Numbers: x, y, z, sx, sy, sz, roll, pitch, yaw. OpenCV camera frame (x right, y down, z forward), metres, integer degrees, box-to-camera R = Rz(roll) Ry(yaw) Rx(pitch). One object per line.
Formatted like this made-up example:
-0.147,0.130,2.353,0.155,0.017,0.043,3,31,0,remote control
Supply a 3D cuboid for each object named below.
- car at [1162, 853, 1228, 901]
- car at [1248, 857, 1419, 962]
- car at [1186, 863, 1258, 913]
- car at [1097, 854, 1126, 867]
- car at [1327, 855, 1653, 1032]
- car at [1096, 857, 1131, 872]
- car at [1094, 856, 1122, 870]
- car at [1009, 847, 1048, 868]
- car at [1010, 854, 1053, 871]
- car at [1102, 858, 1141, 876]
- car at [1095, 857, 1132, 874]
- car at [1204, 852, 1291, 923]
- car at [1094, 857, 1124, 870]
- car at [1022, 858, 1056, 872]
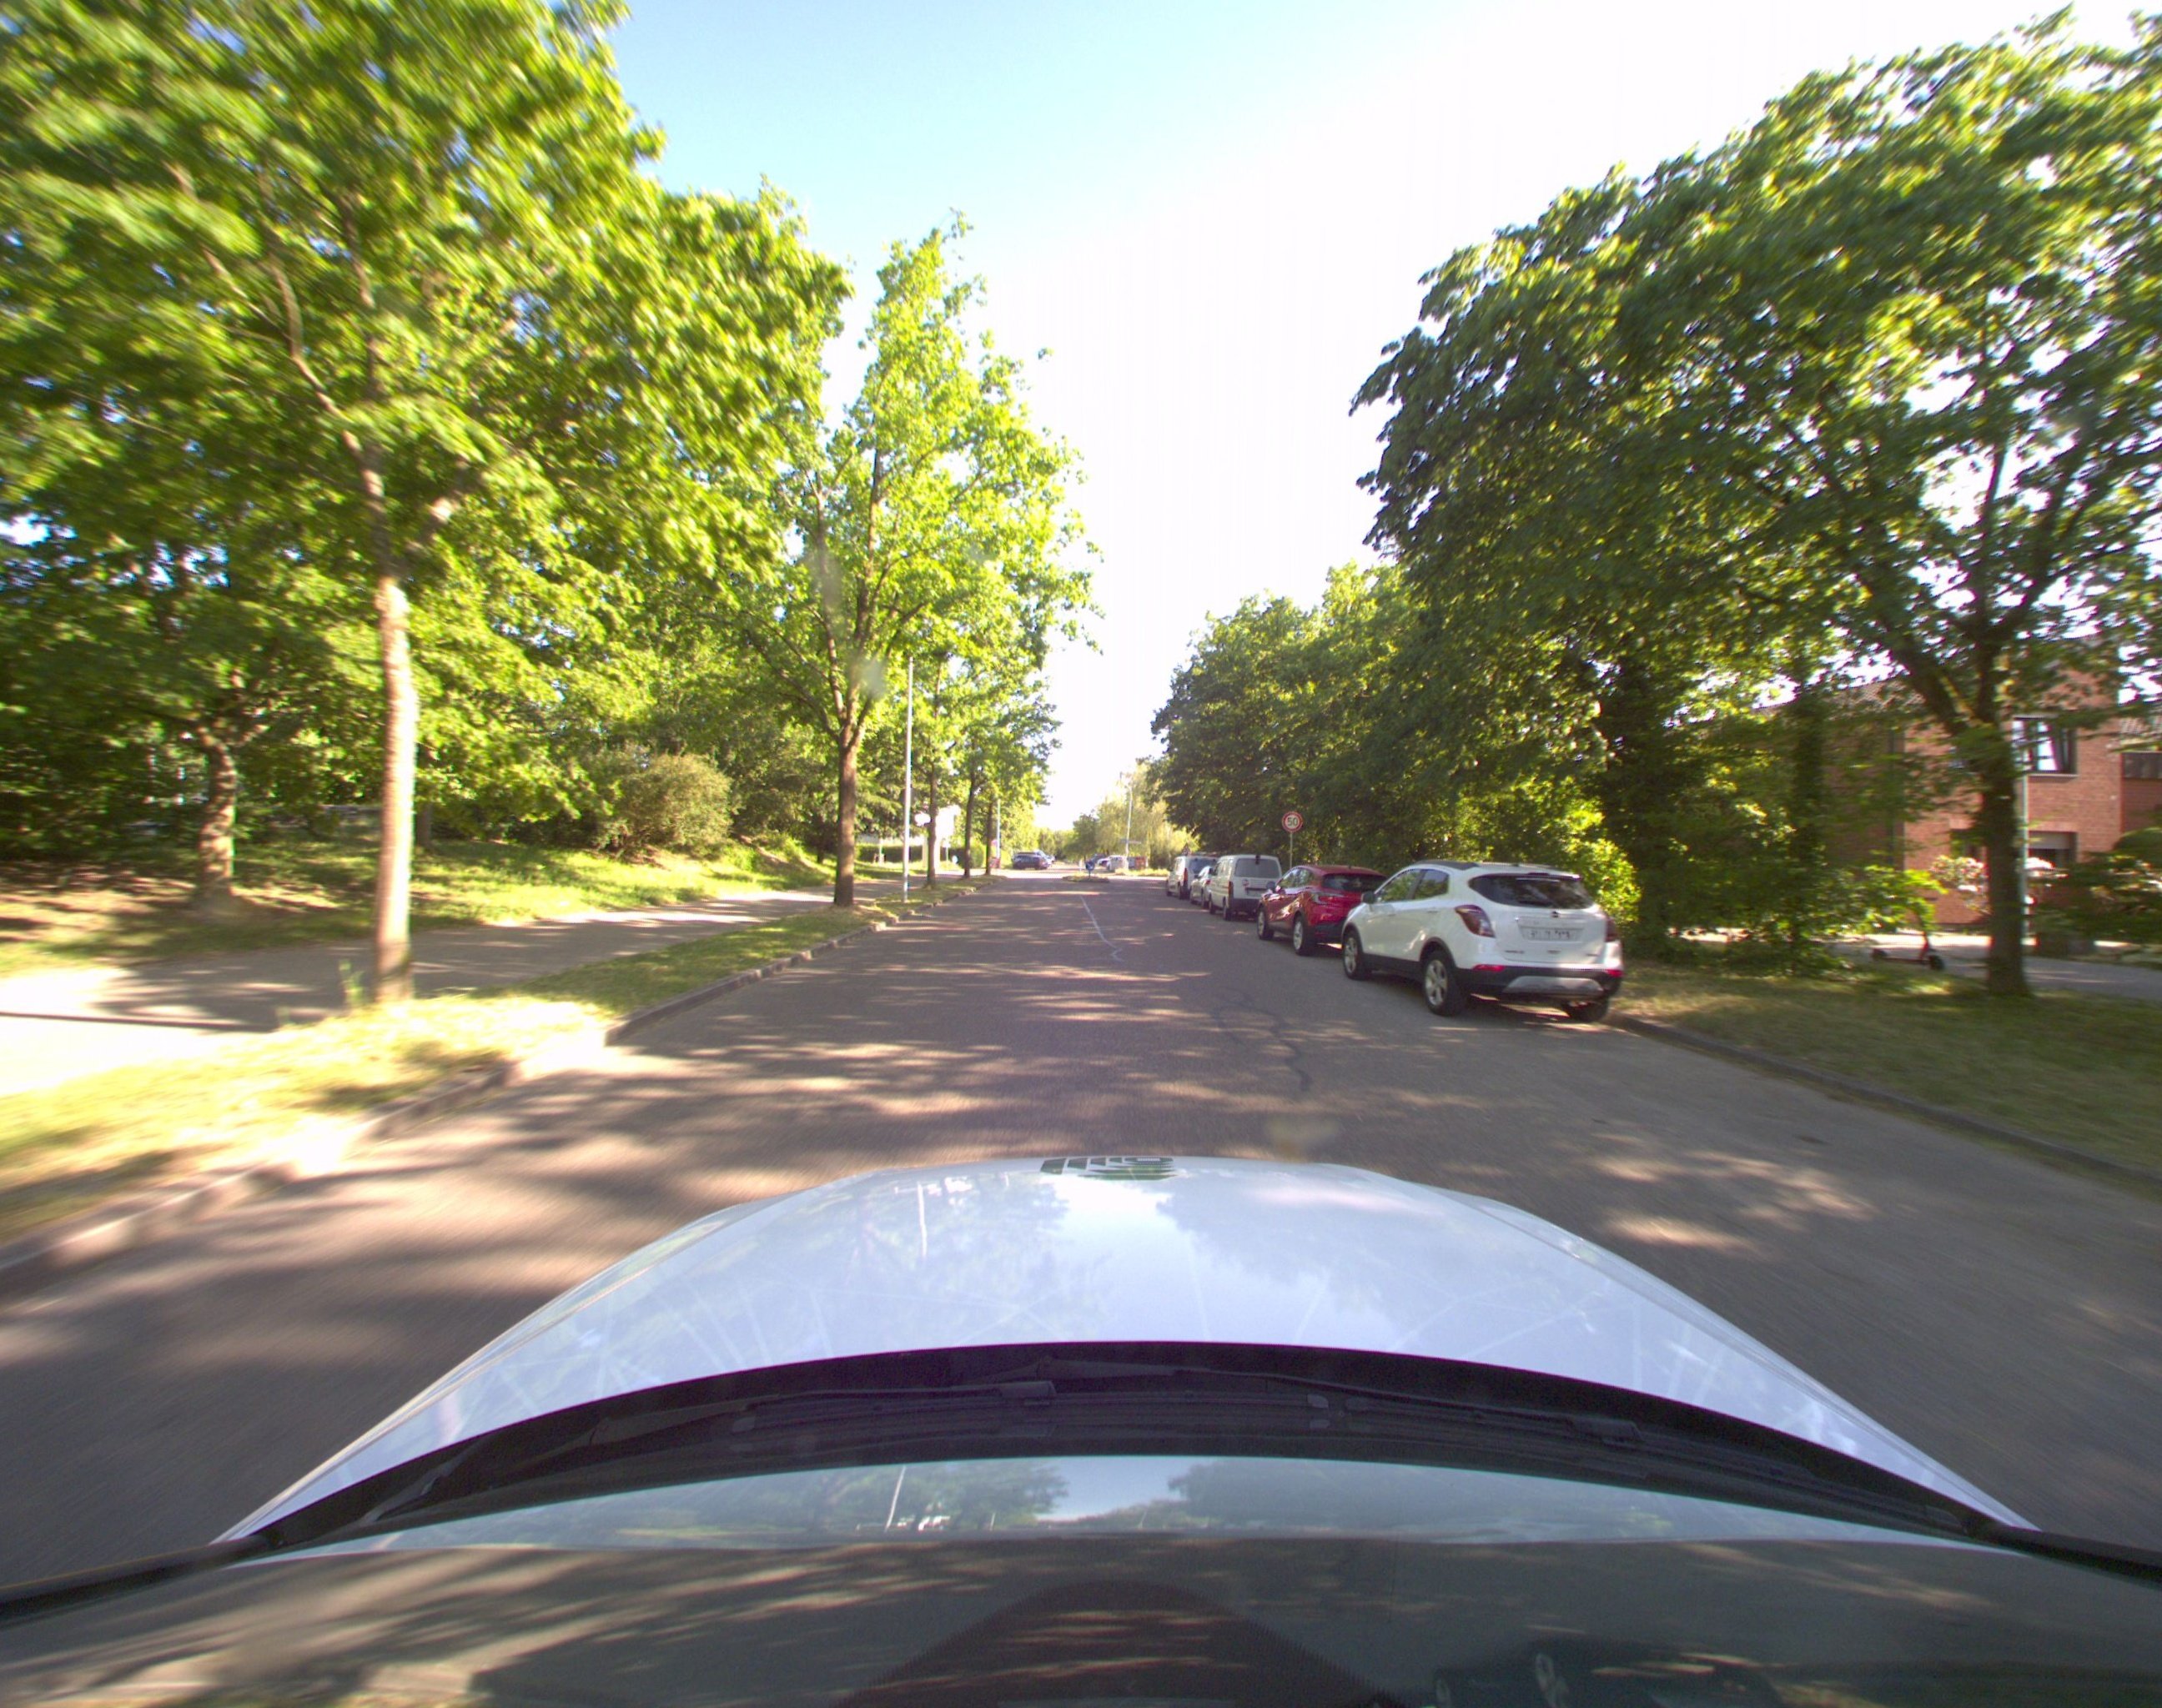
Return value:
4.725,0.908,34.382,1.787,1.785,4.550,3,0,-4,car
4.534,0.925,15.297,1.771,1.621,4.061,3,0,-2,car
4.801,1.109,28.236,1.686,1.512,4.205,3,0,0,car
4.178,0.966,112.325,3.822,1.576,1.690,3,-1,3,car
4.577,0.883,9.897,1.771,1.621,4.061,3,0,-2,car
3.767,1.244,94.380,3.819,1.576,1.691,3,-1,5,car
3.953,1.267,118.517,3.822,1.796,1.690,3,-1,3,car
-7.328,0.457,113.294,5.192,2.621,2.289,3,-1,-6,car
-5.335,0.926,88.084,4.297,1.576,2.049,3,-1,6,car
4.139,1.322,83.758,3.819,1.576,1.691,3,-1,5,car
3.457,1.261,86.569,3.819,1.576,1.691,3,-1,5,car
4.617,0.885,23.056,1.618,1.773,3.667,3,-1,0,car
3.779,1.247,109.183,3.819,1.576,1.691,3,-1,5,car
-5.325,1.353,104.381,4.092,1.576,1.959,3,-1,1,car
